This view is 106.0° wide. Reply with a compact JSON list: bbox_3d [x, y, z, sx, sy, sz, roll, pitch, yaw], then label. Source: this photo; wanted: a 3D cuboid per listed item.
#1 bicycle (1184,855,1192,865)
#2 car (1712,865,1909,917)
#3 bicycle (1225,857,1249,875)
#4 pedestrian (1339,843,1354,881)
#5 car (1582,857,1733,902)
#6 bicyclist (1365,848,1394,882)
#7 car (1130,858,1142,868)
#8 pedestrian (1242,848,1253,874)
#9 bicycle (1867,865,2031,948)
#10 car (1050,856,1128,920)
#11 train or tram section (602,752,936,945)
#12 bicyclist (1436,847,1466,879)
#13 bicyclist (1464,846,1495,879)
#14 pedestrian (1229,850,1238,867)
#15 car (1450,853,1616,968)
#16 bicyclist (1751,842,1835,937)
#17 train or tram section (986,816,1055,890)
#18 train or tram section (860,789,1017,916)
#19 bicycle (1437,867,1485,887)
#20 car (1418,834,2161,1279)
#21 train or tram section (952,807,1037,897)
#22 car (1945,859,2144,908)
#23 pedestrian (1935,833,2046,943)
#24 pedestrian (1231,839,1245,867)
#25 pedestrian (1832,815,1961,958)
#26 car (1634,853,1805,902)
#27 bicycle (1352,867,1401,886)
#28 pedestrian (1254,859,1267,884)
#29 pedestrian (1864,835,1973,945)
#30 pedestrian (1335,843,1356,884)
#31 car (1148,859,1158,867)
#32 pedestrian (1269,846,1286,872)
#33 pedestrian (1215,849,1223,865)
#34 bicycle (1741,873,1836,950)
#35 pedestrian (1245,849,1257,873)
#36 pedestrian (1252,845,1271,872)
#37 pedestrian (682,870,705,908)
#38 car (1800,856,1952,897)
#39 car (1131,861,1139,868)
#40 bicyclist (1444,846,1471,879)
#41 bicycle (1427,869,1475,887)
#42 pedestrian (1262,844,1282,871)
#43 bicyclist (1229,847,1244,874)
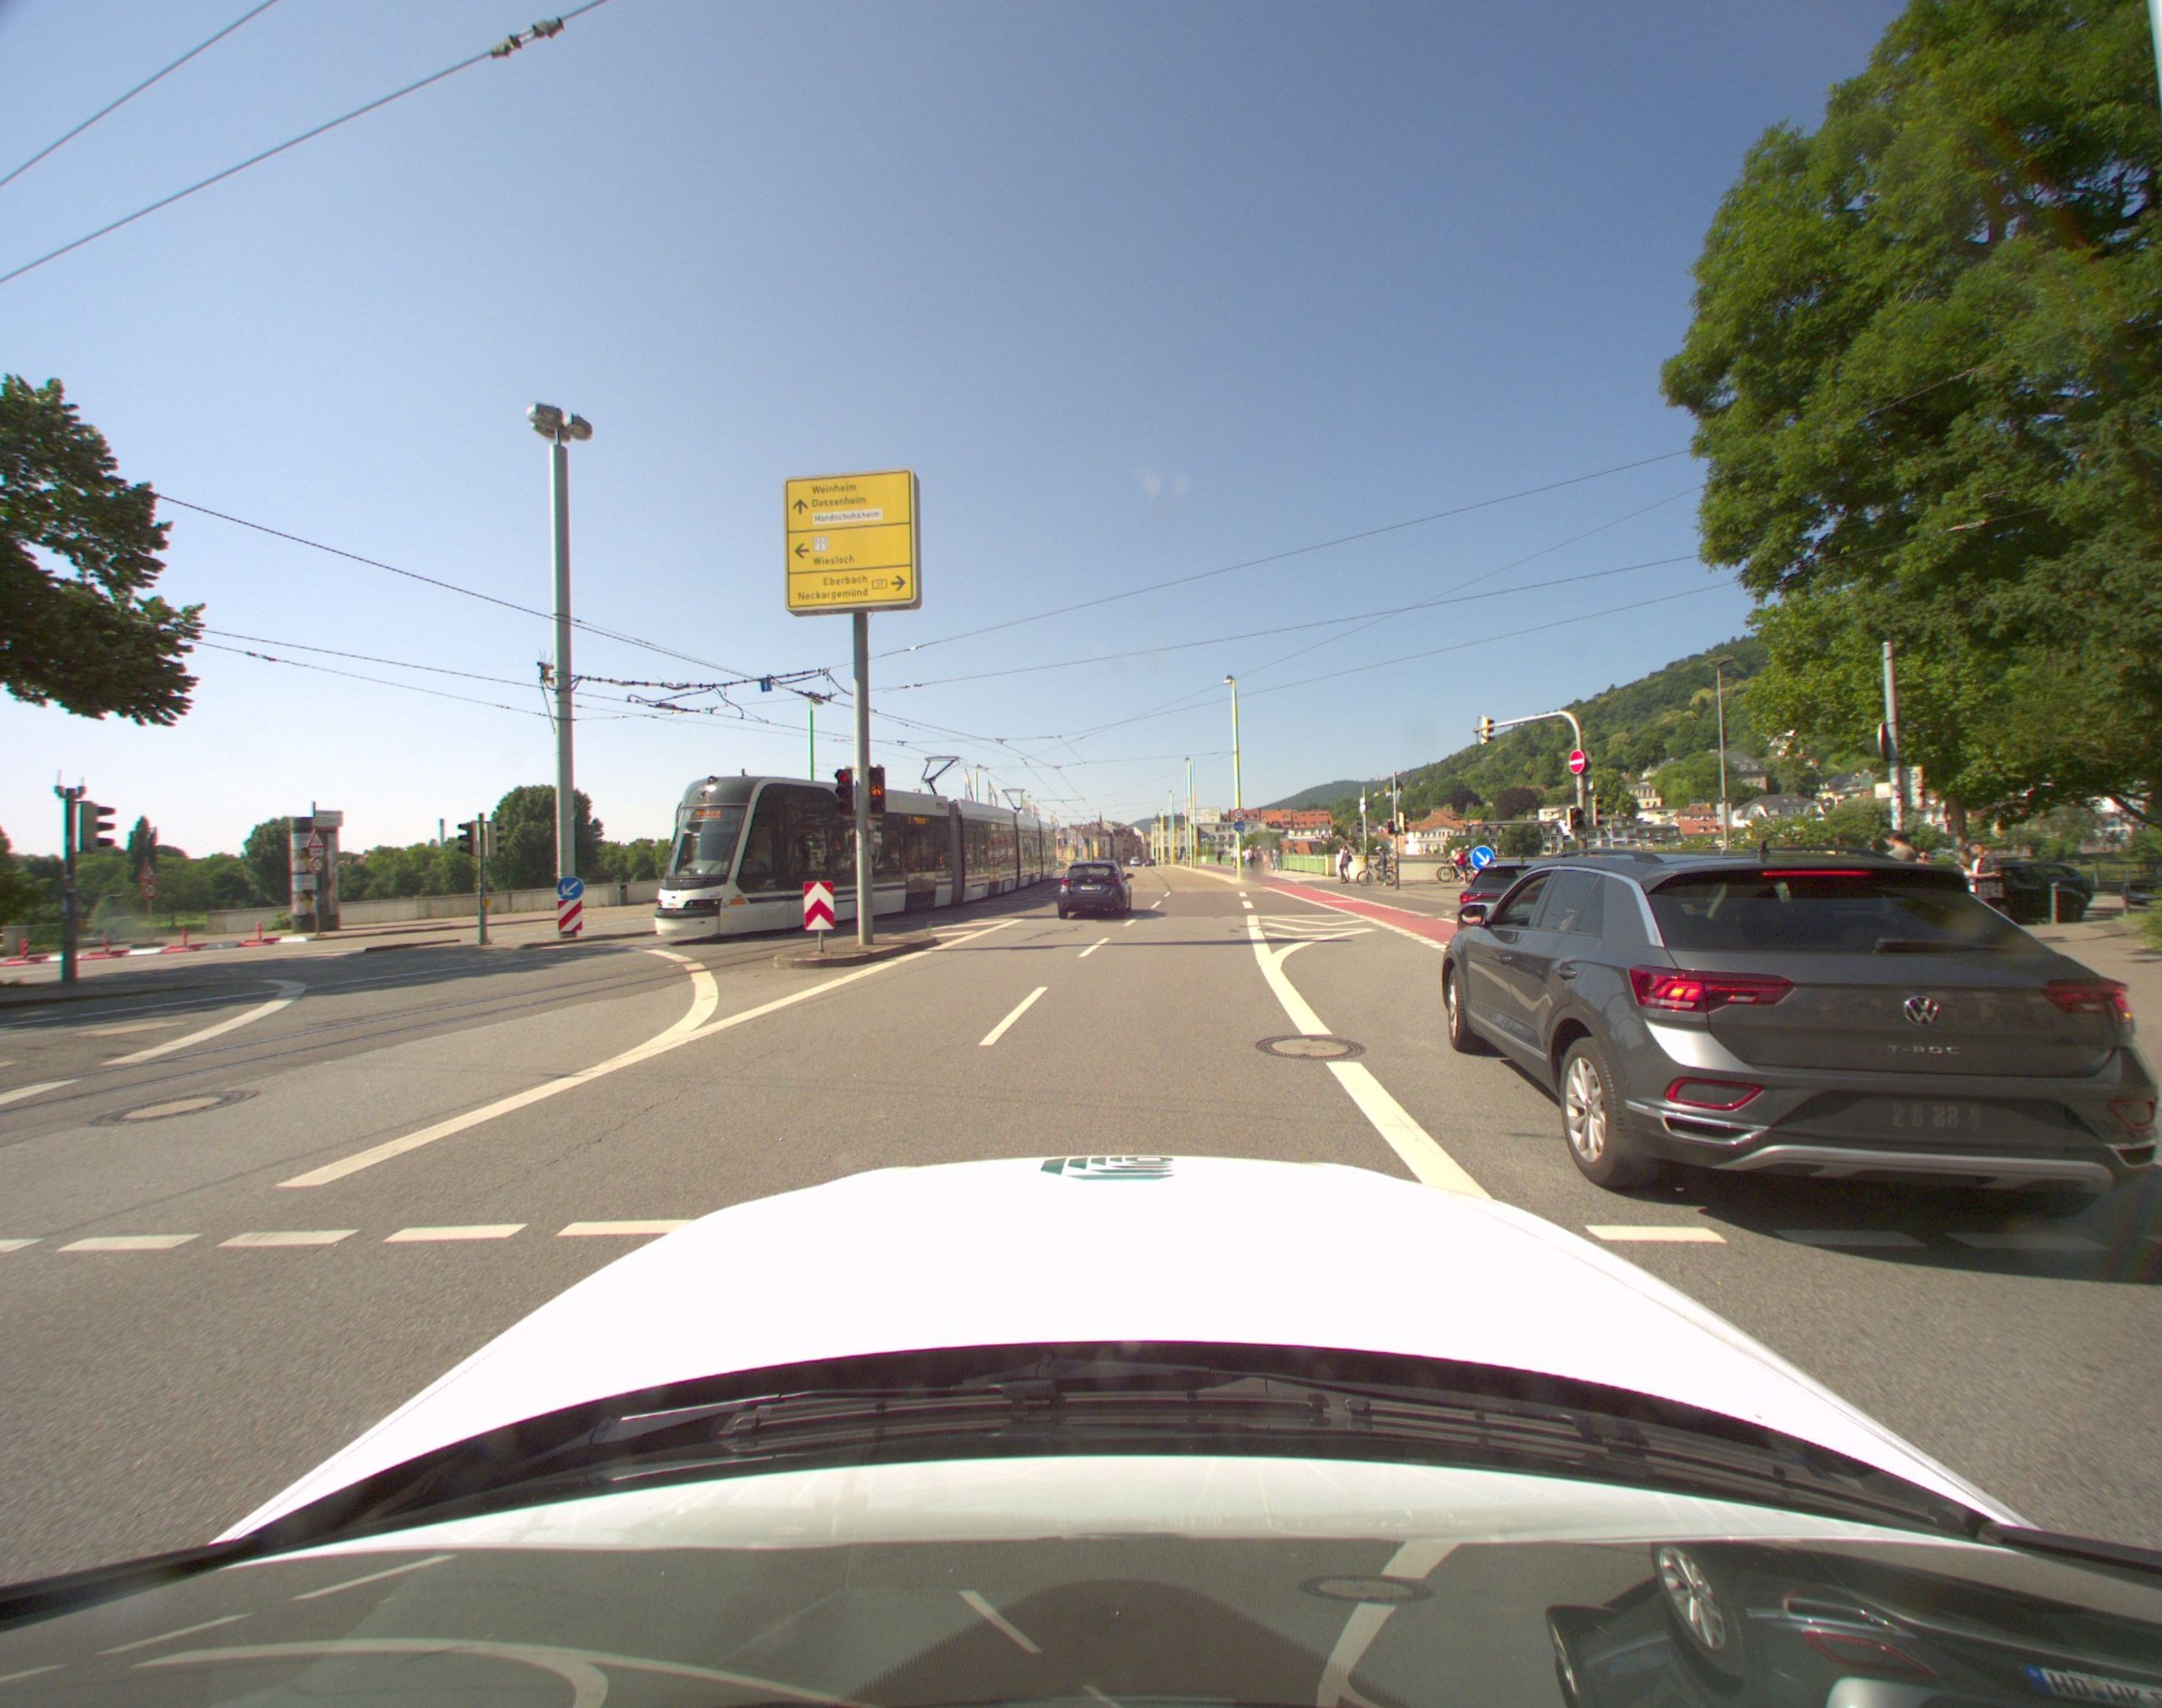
[{"bbox_3d":[14.364,0.807,109.124,0.693,1.194,2.078,-2,-2,-1],"label":"bicycle"},{"bbox_3d":[21.093,1.045,23.640,4.297,1.357,1.878,-1,0,-6],"label":"car"},{"bbox_3d":[10.056,0.799,52.638,0.790,1.096,3.743,-2,-1,-1],"label":"bicycle"},{"bbox_3d":[12.346,0.377,37.877,0.531,1.760,0.578,-1,0,6],"label":"pedestrian"},{"bbox_3d":[21.241,0.920,30.097,4.468,1.395,1.842,-2,0,-7],"label":"car"},{"bbox_3d":[13.078,0.474,35.689,1.074,1.474,0.802,0,0,7],"label":"bicyclist"},{"bbox_3d":[9.304,1.557,138.753,1.798,1.469,4.000,-3,-1,1],"label":"car"},{"bbox_3d":[11.608,0.483,56.788,0.547,1.799,0.645,-1,-1,-3],"label":"pedestrian"},{"bbox_3d":[13.969,0.849,13.226,0.793,1.206,2.285,-4,-5,20],"label":"bicycle"},{"bbox_3d":[0.249,0.843,22.185,1.903,1.540,4.001,-1,0,1],"label":"car"},{"bbox_3d":[-7.101,-0.096,20.653,2.517,3.777,9.213,-2,0,18],"label":"train or tram section"},{"bbox_3d":[17.207,0.401,37.902,1.073,1.474,0.930,0,0,9],"label":"bicyclist"},{"bbox_3d":[18.188,0.366,37.157,1.073,1.474,0.931,0,0,11],"label":"bicyclist"},{"bbox_3d":[13.972,0.413,74.653,0.646,1.562,0.693,-3,0,4],"label":"pedestrian"},{"bbox_3d":[7.181,0.741,13.030,1.975,1.490,4.311,-1,0,29],"label":"car"},{"bbox_3d":[12.218,0.586,13.978,1.063,1.553,0.769,-2,0,-31],"label":"bicyclist"},{"bbox_3d":[-3.303,-0.073,47.971,2.459,3.777,11.859,-2,0,3],"label":"train or tram section"},{"bbox_3d":[-4.728,-0.066,29.389,2.522,3.777,9.194,-2,0,9],"label":"train or tram section"},{"bbox_3d":[17.190,1.023,36.834,1.921,0.854,0.568,0,0,27],"label":"bicycle"},{"bbox_3d":[3.423,0.705,4.881,1.916,1.516,4.006,-1,0,12],"label":"car"},{"bbox_3d":[-3.838,-0.097,38.660,2.394,3.681,9.627,-2,0,3],"label":"train or tram section"},{"bbox_3d":[29.571,0.870,25.065,4.467,1.379,1.843,-1,0,-7],"label":"car"},{"bbox_3d":[15.240,0.574,13.663,1.057,1.782,0.698,-1,-5,-13],"label":"pedestrian"},{"bbox_3d":[11.391,-0.083,59.088,0.801,2.014,0.953,-1,-1,-3],"label":"pedestrian"},{"bbox_3d":[12.202,0.468,12.228,0.772,2.013,1.059,-2,-1,-2],"label":"pedestrian"},{"bbox_3d":[20.963,0.741,26.807,4.467,1.506,1.843,-1,0,-7],"label":"car"},{"bbox_3d":[12.944,0.994,35.708,1.928,0.827,0.566,0,0,7],"label":"bicycle"},{"bbox_3d":[12.374,1.199,56.219,0.652,1.650,0.868,-1,-1,0],"label":"pedestrian"},{"bbox_3d":[13.703,0.597,13.357,0.671,1.711,0.892,-2,-4,0],"label":"pedestrian"},{"bbox_3d":[12.187,0.427,37.588,0.770,1.855,0.645,-1,0,6],"label":"pedestrian"},{"bbox_3d":[14.485,1.835,164.188,1.795,1.469,4.006,-3,-1,6],"label":"car"},{"bbox_3d":[13.008,0.341,53.905,0.797,1.635,0.949,-2,-1,-3],"label":"pedestrian"},{"bbox_3d":[15.564,0.357,91.912,0.653,1.743,0.977,-1,0,-5],"label":"pedestrian"},{"bbox_3d":[12.113,0.947,13.911,2.258,1.164,0.610,-1,-1,-33],"label":"bicycle"},{"bbox_3d":[12.011,0.502,57.547,0.694,1.716,0.731,-1,-1,-3],"label":"pedestrian"},{"bbox_3d":[11.961,0.305,54.003,0.982,1.750,0.929,-1,-1,-3],"label":"pedestrian"},{"bbox_3d":[-18.249,1.636,38.373,0.838,1.697,1.090,-2,-1,-22],"label":"pedestrian"},{"bbox_3d":[29.940,0.812,30.728,4.471,1.448,1.841,-1,0,-10],"label":"car"},{"bbox_3d":[14.007,2.643,210.626,1.986,1.717,4.001,-1,-1,1],"label":"car"},{"bbox_3d":[17.065,0.392,36.904,1.070,1.474,0.766,0,0,24],"label":"bicyclist"},{"bbox_3d":[17.208,1.105,37.906,1.928,0.827,0.566,0,0,7],"label":"bicycle"},{"bbox_3d":[13.129,0.264,55.954,0.982,1.769,1.253,-2,-1,-3],"label":"pedestrian"},{"bbox_3d":[10.007,0.417,52.540,0.671,1.744,1.150,-2,-1,-1],"label":"bicyclist"}]
